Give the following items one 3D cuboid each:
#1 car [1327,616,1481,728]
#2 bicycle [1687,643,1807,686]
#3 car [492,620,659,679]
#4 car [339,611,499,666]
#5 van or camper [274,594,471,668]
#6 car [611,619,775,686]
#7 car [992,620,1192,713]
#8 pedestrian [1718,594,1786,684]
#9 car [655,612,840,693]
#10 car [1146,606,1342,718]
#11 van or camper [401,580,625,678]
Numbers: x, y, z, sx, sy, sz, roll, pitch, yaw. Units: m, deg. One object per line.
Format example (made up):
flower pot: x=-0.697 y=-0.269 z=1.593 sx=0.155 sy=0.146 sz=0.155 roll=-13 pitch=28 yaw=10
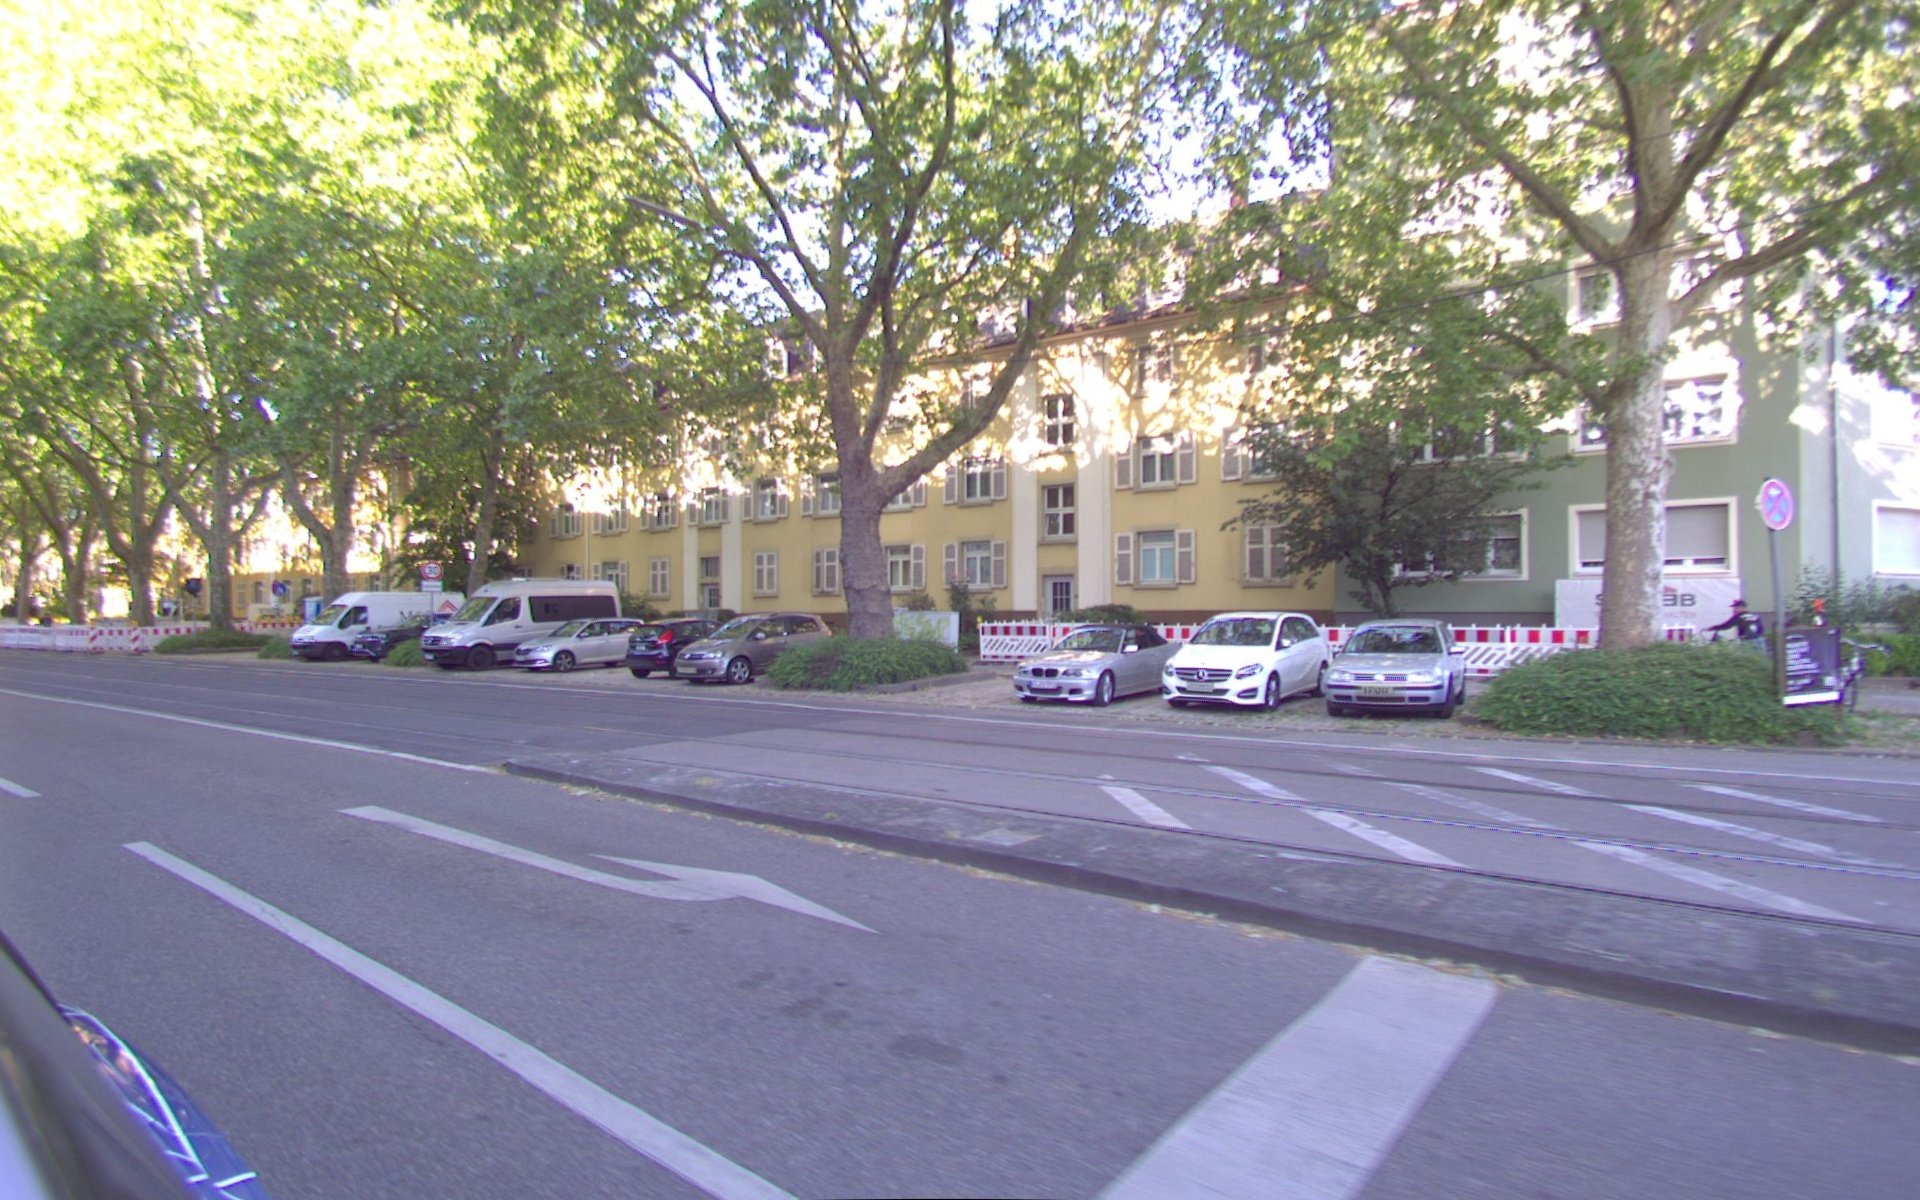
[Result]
car: x=7.066 y=1.012 z=15.892 sx=1.698 sy=1.428 sz=3.957 roll=0 pitch=0 yaw=32
bicycle: x=14.573 y=1.186 z=18.759 sx=1.761 sy=0.765 sz=0.357 roll=-1 pitch=-1 yaw=12
car: x=-10.897 y=1.345 z=28.937 sx=1.691 sy=1.457 sz=4.225 roll=0 pitch=0 yaw=38
car: x=-18.140 y=1.246 z=34.124 sx=1.691 sy=1.645 sz=4.485 roll=0 pitch=0 yaw=38
van or camper: x=-20.717 y=1.006 z=35.977 sx=2.153 sy=2.403 sz=5.695 roll=0 pitch=0 yaw=37
car: x=-6.720 y=1.275 z=25.749 sx=1.691 sy=1.457 sz=3.815 roll=0 pitch=0 yaw=38
car: x=2.516 y=1.121 z=18.519 sx=1.842 sy=1.379 sz=4.031 roll=0 pitch=0 yaw=38
pedestrian: x=14.217 y=0.687 z=18.174 sx=0.735 sy=1.580 sz=0.600 roll=-1 pitch=-1 yaw=11
car: x=-4.891 y=1.146 z=23.719 sx=1.842 sy=1.631 sz=4.031 roll=0 pitch=0 yaw=38
car: x=4.956 y=0.946 z=17.318 sx=1.842 sy=1.624 sz=4.031 roll=0 pitch=0 yaw=38
van or camper: x=-13.236 y=0.766 z=30.372 sx=2.153 sy=2.668 sz=5.862 roll=0 pitch=0 yaw=37
